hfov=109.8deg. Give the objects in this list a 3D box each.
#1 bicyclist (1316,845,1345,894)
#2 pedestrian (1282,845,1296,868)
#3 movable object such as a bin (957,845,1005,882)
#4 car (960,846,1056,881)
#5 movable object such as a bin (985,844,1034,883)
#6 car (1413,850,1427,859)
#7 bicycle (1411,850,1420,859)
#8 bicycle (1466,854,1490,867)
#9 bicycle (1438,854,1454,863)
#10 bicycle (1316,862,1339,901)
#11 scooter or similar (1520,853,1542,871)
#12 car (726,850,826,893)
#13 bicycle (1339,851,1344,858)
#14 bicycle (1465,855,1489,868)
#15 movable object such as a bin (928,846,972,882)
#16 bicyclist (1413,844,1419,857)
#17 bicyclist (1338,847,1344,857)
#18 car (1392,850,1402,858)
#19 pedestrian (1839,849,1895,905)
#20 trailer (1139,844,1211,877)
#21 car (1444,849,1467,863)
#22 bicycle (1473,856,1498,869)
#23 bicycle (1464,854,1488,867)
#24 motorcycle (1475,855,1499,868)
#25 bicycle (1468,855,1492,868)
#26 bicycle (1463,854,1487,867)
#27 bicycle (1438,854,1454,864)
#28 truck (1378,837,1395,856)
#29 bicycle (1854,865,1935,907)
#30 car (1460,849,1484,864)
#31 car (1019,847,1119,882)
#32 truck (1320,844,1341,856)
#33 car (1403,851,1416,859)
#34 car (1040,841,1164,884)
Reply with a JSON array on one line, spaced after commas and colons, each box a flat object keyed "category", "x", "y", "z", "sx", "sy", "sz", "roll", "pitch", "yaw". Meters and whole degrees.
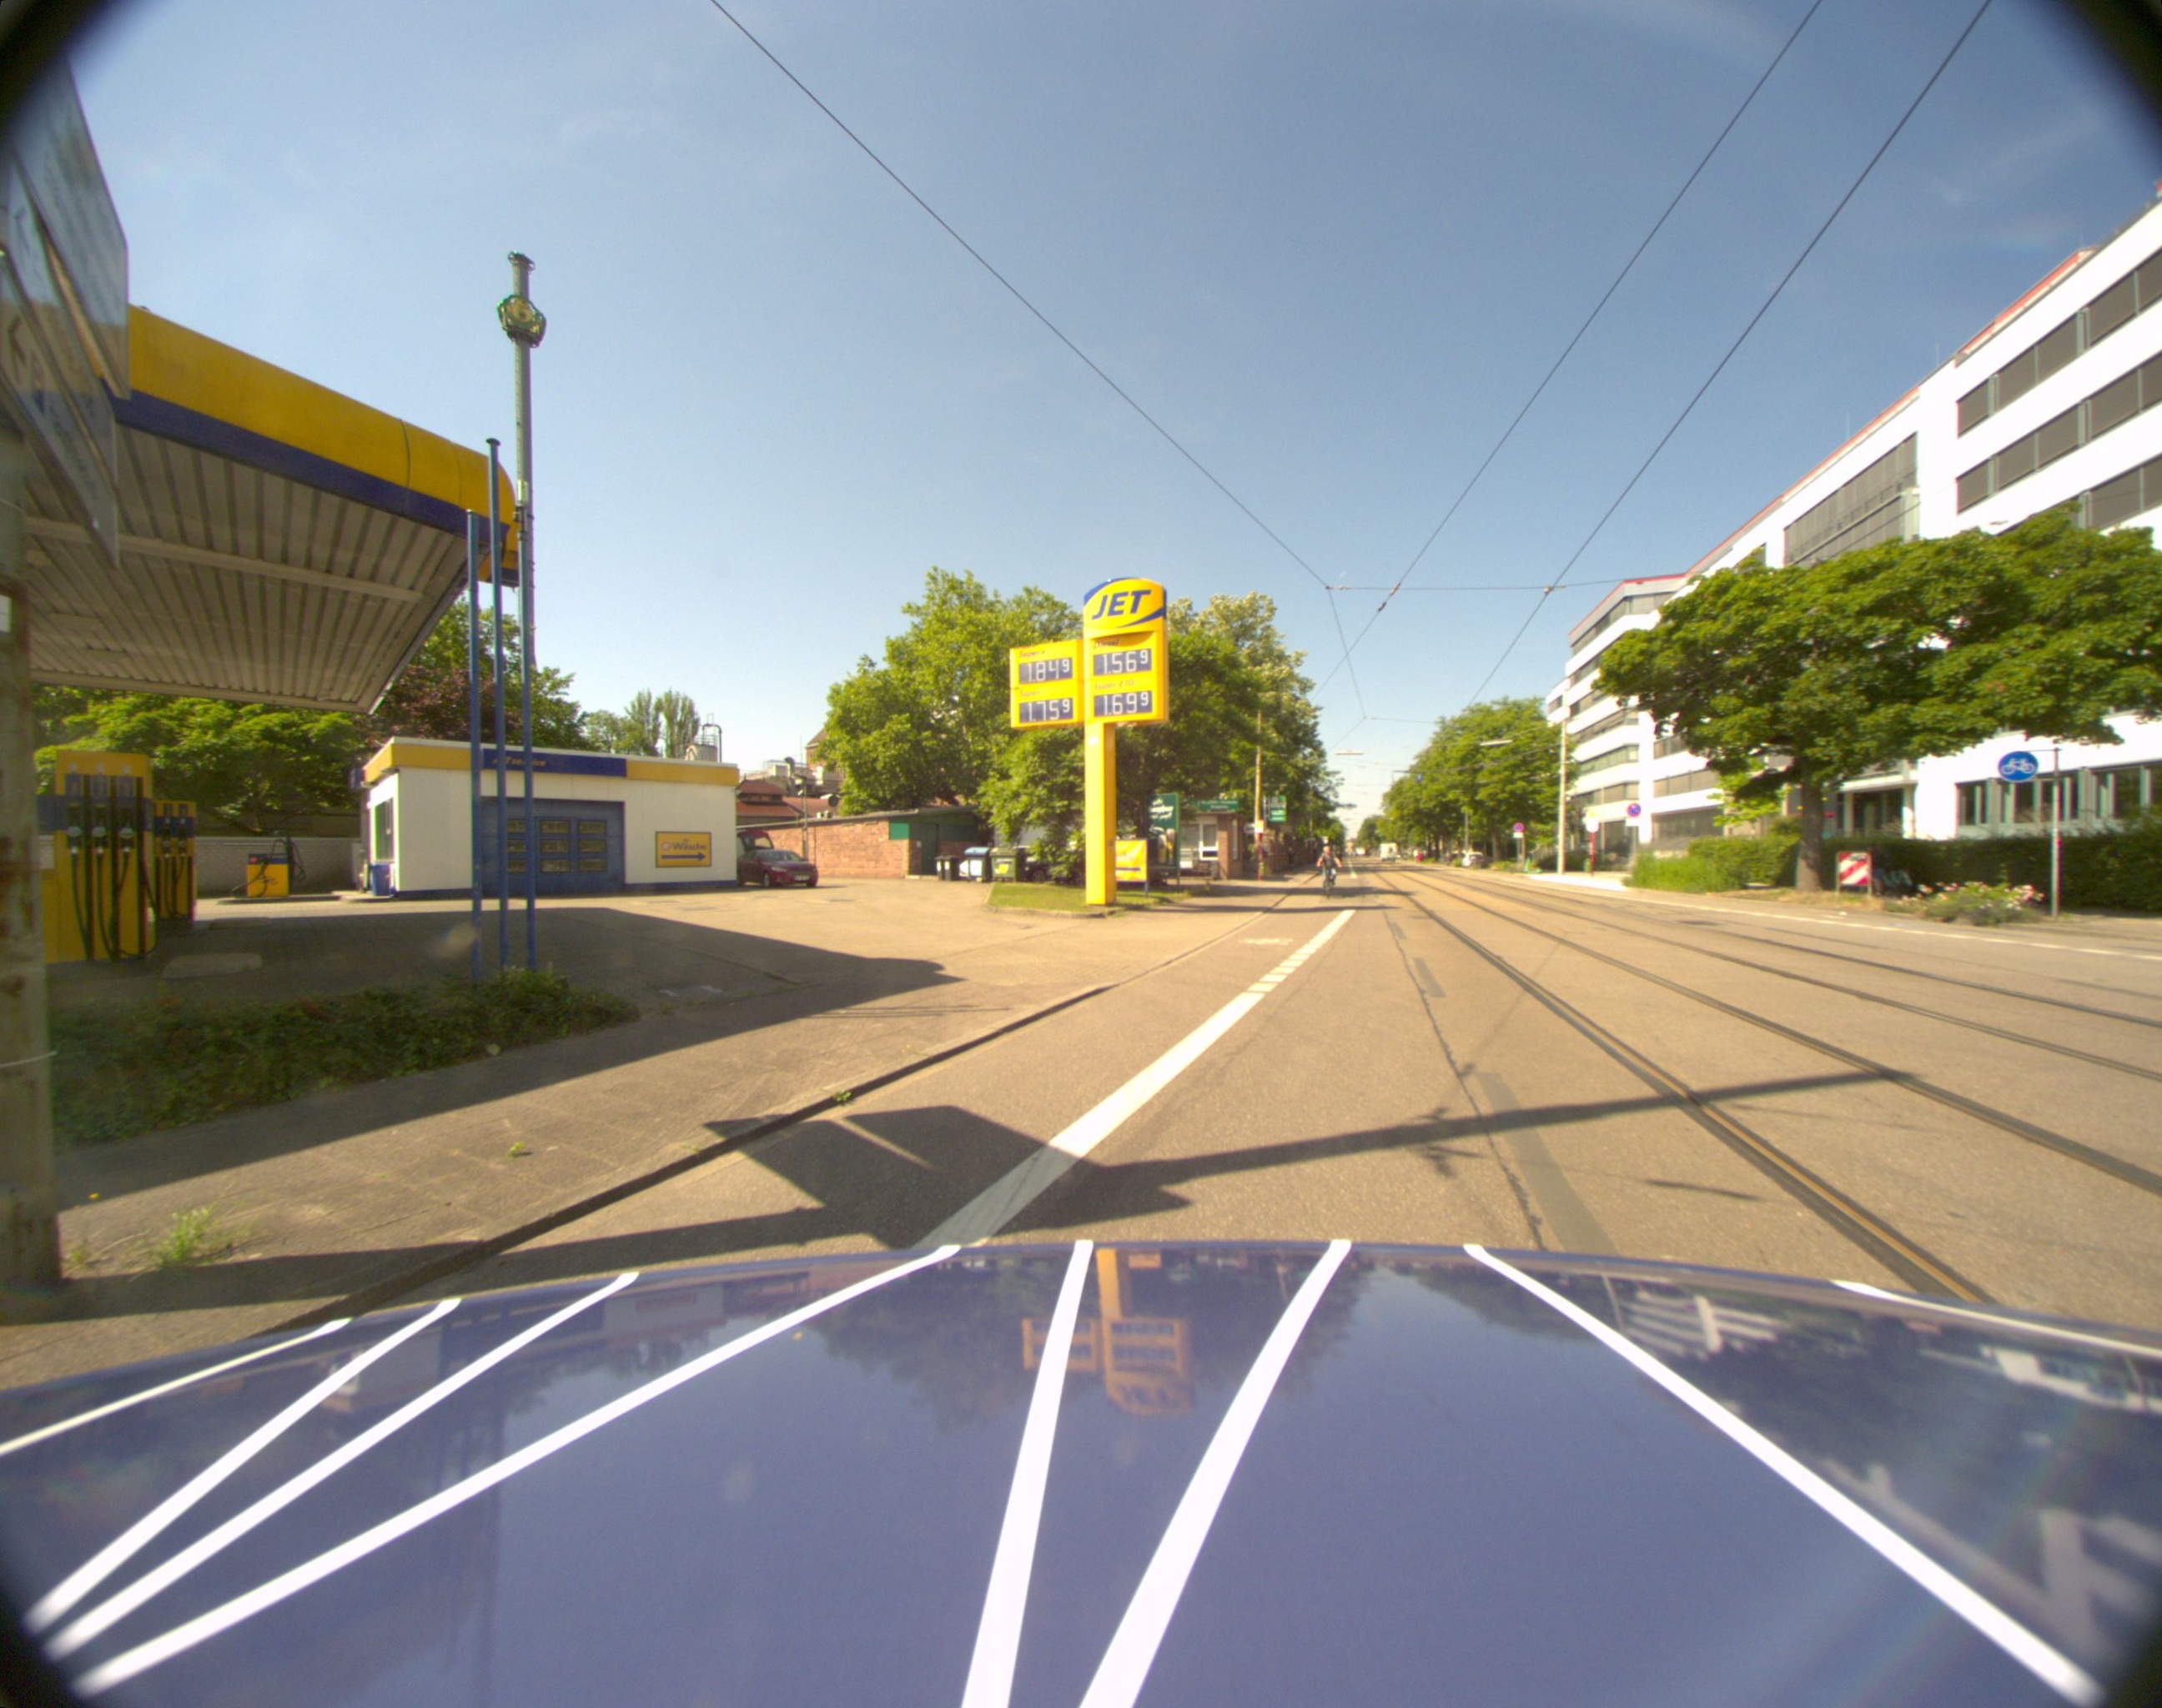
[{"category": "bicyclist", "x": 8.268, "y": 0.511, "z": 25.185, "sx": 0.904, "sy": 1.586, "sz": 0.966, "roll": 0, "pitch": 1, "yaw": 19}, {"category": "pedestrian", "x": 16.029, "y": 0.190, "z": 58.525, "sx": 0.977, "sy": 1.805, "sz": 1.186, "roll": -1, "pitch": 0, "yaw": 20}, {"category": "movable object such as a bin", "x": -4.131, "y": 0.381, "z": 31.390, "sx": 1.418, "sy": 1.494, "sz": 1.382, "roll": 0, "pitch": 1, "yaw": 35}, {"category": "car", "x": -3.329, "y": 0.398, "z": 34.825, "sx": 4.006, "sy": 1.548, "sz": 1.843, "roll": 0, "pitch": 1, "yaw": -27}, {"category": "movable object such as a bin", "x": -2.820, "y": 0.347, "z": 30.072, "sx": 1.419, "sy": 1.494, "sz": 1.381, "roll": 0, "pitch": 1, "yaw": 23}, {"category": "car", "x": 54.094, "y": 0.105, "z": 121.414, "sx": 1.632, "sy": 1.463, "sz": 3.724, "roll": 0, "pitch": 0, "yaw": 18}, {"category": "bicycle", "x": 45.570, "y": 0.068, "z": 103.523, "sx": 0.856, "sy": 1.104, "sz": 2.142, "roll": 0, "pitch": 1, "yaw": 19}, {"category": "bicycle", "x": 35.148, "y": 0.579, "z": 67.367, "sx": 1.794, "sy": 1.080, "sz": 0.727, "roll": -1, "pitch": 0, "yaw": 19}, {"category": "bicycle", "x": 44.541, "y": 0.609, "z": 92.693, "sx": 1.726, "sy": 1.080, "sz": 0.479, "roll": -1, "pitch": 1, "yaw": 19}, {"category": "bicycle", "x": 8.146, "y": 0.878, "z": 25.119, "sx": 0.611, "sy": 1.190, "sz": 2.126, "roll": -3, "pitch": 0, "yaw": 18}, {"category": "scooter or similar", "x": 29.692, "y": 0.551, "z": 50.127, "sx": 1.127, "sy": 1.159, "sz": 0.677, "roll": 0, "pitch": 1, "yaw": 22}, {"category": "car", "x": -11.741, "y": 0.606, "z": 29.072, "sx": 1.896, "sy": 1.452, "sz": 4.543, "roll": -3, "pitch": 2, "yaw": -45}, {"category": "bicycle", "x": 38.521, "y": 0.039, "z": 112.364, "sx": 0.592, "sy": 1.099, "sz": 2.057, "roll": 0, "pitch": 1, "yaw": 20}, {"category": "bicycle", "x": 35.345, "y": 0.648, "z": 67.861, "sx": 1.851, "sy": 1.125, "sz": 0.681, "roll": -1, "pitch": 0, "yaw": 19}, {"category": "movable object such as a bin", "x": -5.629, "y": 0.429, "z": 32.617, "sx": 1.333, "sy": 1.493, "sz": 1.326, "roll": -2, "pitch": 0, "yaw": -42}, {"category": "bicyclist", "x": 45.651, "y": -0.471, "z": 103.595, "sx": 0.636, "sy": 1.860, "sz": 1.026, "roll": 0, "pitch": 1, "yaw": 19}, {"category": "bicyclist", "x": 38.488, "y": -0.315, "z": 112.480, "sx": 0.741, "sy": 1.522, "sz": 0.949, "roll": 0, "pitch": 1, "yaw": 20}, {"category": "car", "x": 63.238, "y": -0.037, "z": 152.048, "sx": 1.631, "sy": 1.463, "sz": 4.119, "roll": 0, "pitch": 0, "yaw": 20}, {"category": "pedestrian", "x": 22.546, "y": 0.651, "z": 21.817, "sx": 0.687, "sy": 1.554, "sz": 0.989, "roll": -2, "pitch": 0, "yaw": 15}, {"category": "trailer", "x": 4.767, "y": 0.298, "z": 38.273, "sx": 3.277, "sy": 1.594, "sz": 1.726, "roll": 0, "pitch": 1, "yaw": 21}, {"category": "car", "x": 41.509, "y": 0.199, "z": 84.354, "sx": 1.632, "sy": 1.474, "sz": 4.278, "roll": 0, "pitch": 1, "yaw": 17}, {"category": "bicycle", "x": 33.572, "y": 0.676, "z": 63.145, "sx": 1.726, "sy": 1.080, "sz": 0.790, "roll": -1, "pitch": 0, "yaw": 19}, {"category": "bicycle", "x": 35.607, "y": 0.596, "z": 68.488, "sx": 1.875, "sy": 1.135, "sz": 0.687, "roll": -1, "pitch": 0, "yaw": 19}, {"category": "motorcycle", "x": 34.768, "y": 0.646, "z": 65.079, "sx": 1.726, "sy": 1.080, "sz": 0.659, "roll": -1, "pitch": 0, "yaw": 19}, {"category": "bicycle", "x": 34.913, "y": 0.654, "z": 66.510, "sx": 1.726, "sy": 1.080, "sz": 0.640, "roll": -1, "pitch": 0, "yaw": 19}, {"category": "bicycle", "x": 35.825, "y": 0.573, "z": 69.098, "sx": 1.906, "sy": 1.163, "sz": 0.820, "roll": -1, "pitch": 0, "yaw": 19}, {"category": "bicycle", "x": 44.295, "y": 0.606, "z": 92.190, "sx": 1.726, "sy": 1.080, "sz": 0.616, "roll": -1, "pitch": 1, "yaw": 19}, {"category": "truck", "x": 50.105, "y": -1.187, "z": 124.748, "sx": 2.405, "sy": 3.090, "sz": 6.045, "roll": 0, "pitch": 0, "yaw": 19}, {"category": "bicycle", "x": 23.047, "y": 0.873, "z": 21.575, "sx": 0.636, "sy": 1.111, "sz": 2.070, "roll": 0, "pitch": 0, "yaw": 18}, {"category": "car", "x": 37.409, "y": 0.225, "z": 72.737, "sx": 1.631, "sy": 1.463, "sz": 3.635, "roll": 0, "pitch": 1, "yaw": 20}, {"category": "car", "x": -0.533, "y": 0.429, "z": 33.387, "sx": 4.006, "sy": 1.465, "sz": 1.843, "roll": 0, "pitch": 1, "yaw": -27}, {"category": "truck", "x": 81.794, "y": -1.165, "z": 248.804, "sx": 2.814, "sy": 3.837, "sz": 10.022, "roll": 0, "pitch": 0, "yaw": 41}, {"category": "car", "x": 56.778, "y": 0.206, "z": 131.515, "sx": 1.632, "sy": 1.347, "sz": 3.906, "roll": 0, "pitch": 0, "yaw": 17}, {"category": "car", "x": 0.860, "y": 0.316, "z": 30.850, "sx": 4.666, "sy": 1.631, "sz": 2.015, "roll": 0, "pitch": 1, "yaw": -27}]
